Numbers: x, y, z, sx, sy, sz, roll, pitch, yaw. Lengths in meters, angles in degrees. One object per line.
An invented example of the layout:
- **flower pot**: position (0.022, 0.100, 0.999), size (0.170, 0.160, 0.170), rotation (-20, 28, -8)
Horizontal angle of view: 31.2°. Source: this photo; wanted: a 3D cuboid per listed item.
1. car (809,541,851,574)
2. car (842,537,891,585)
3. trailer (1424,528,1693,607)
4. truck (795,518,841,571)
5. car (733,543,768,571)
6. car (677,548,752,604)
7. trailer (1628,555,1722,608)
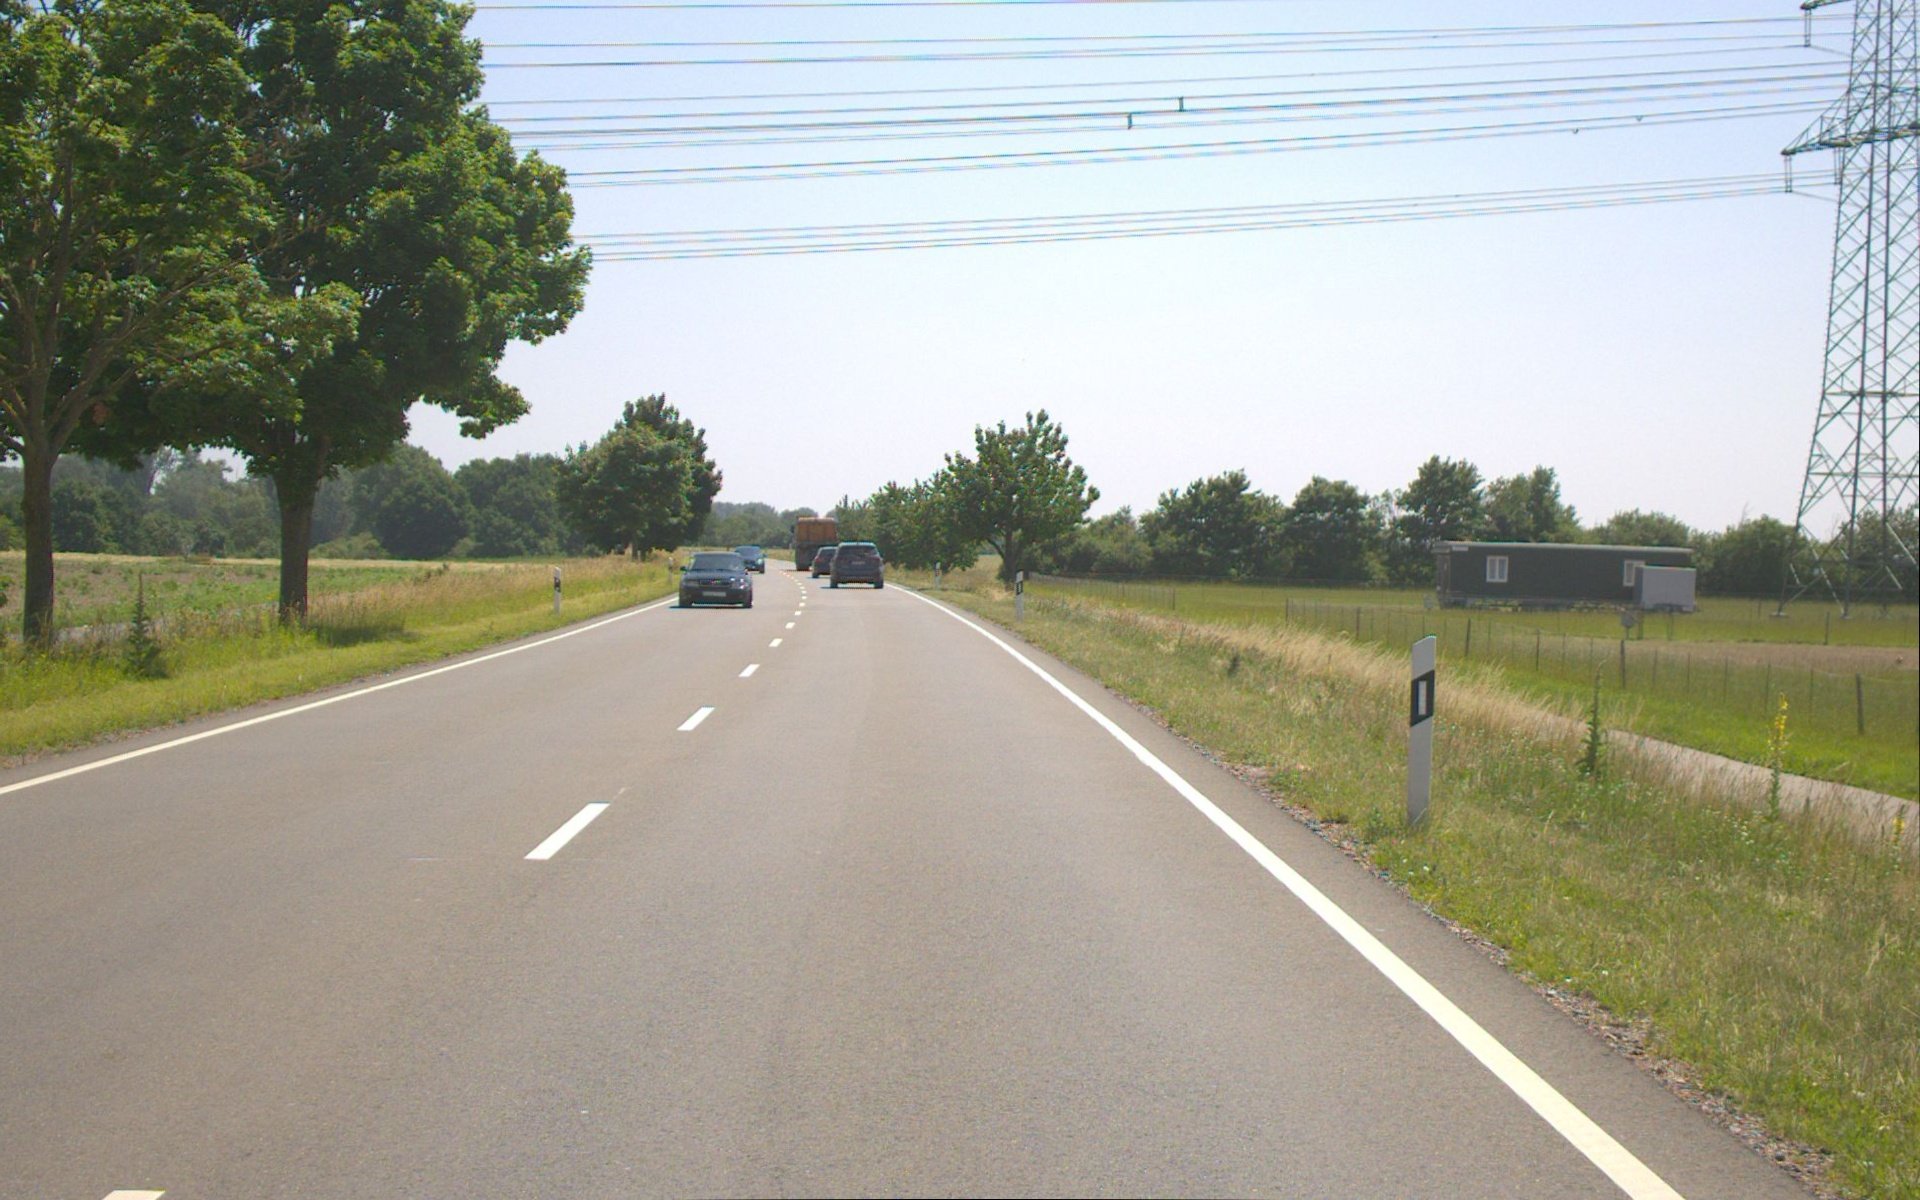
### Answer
- **car**: position (-6.147, -2.023, 162.197), size (1.850, 1.517, 4.001), rotation (1, 1, -4)
- **car**: position (-3.429, -1.416, 125.471), size (1.714, 1.688, 3.989), rotation (1, 1, -2)
- **trailer**: position (29.503, -1.604, 169.665), size (12.409, 3.461, 3.806), rotation (2, 1, -4)
- **truck**: position (-8.559, -3.321, 206.648), size (2.370, 3.129, 8.749), rotation (1, 1, -4)
- **car**: position (-11.295, -2.323, 185.637), size (1.734, 1.442, 4.000), rotation (1, 1, -1)
- **car**: position (-5.987, -0.600, 84.205), size (1.705, 1.328, 4.000), rotation (1, 1, -3)
- **trailer**: position (34.711, -0.901, 166.955), size (3.986, 2.434, 2.000), rotation (2, 1, -6)
